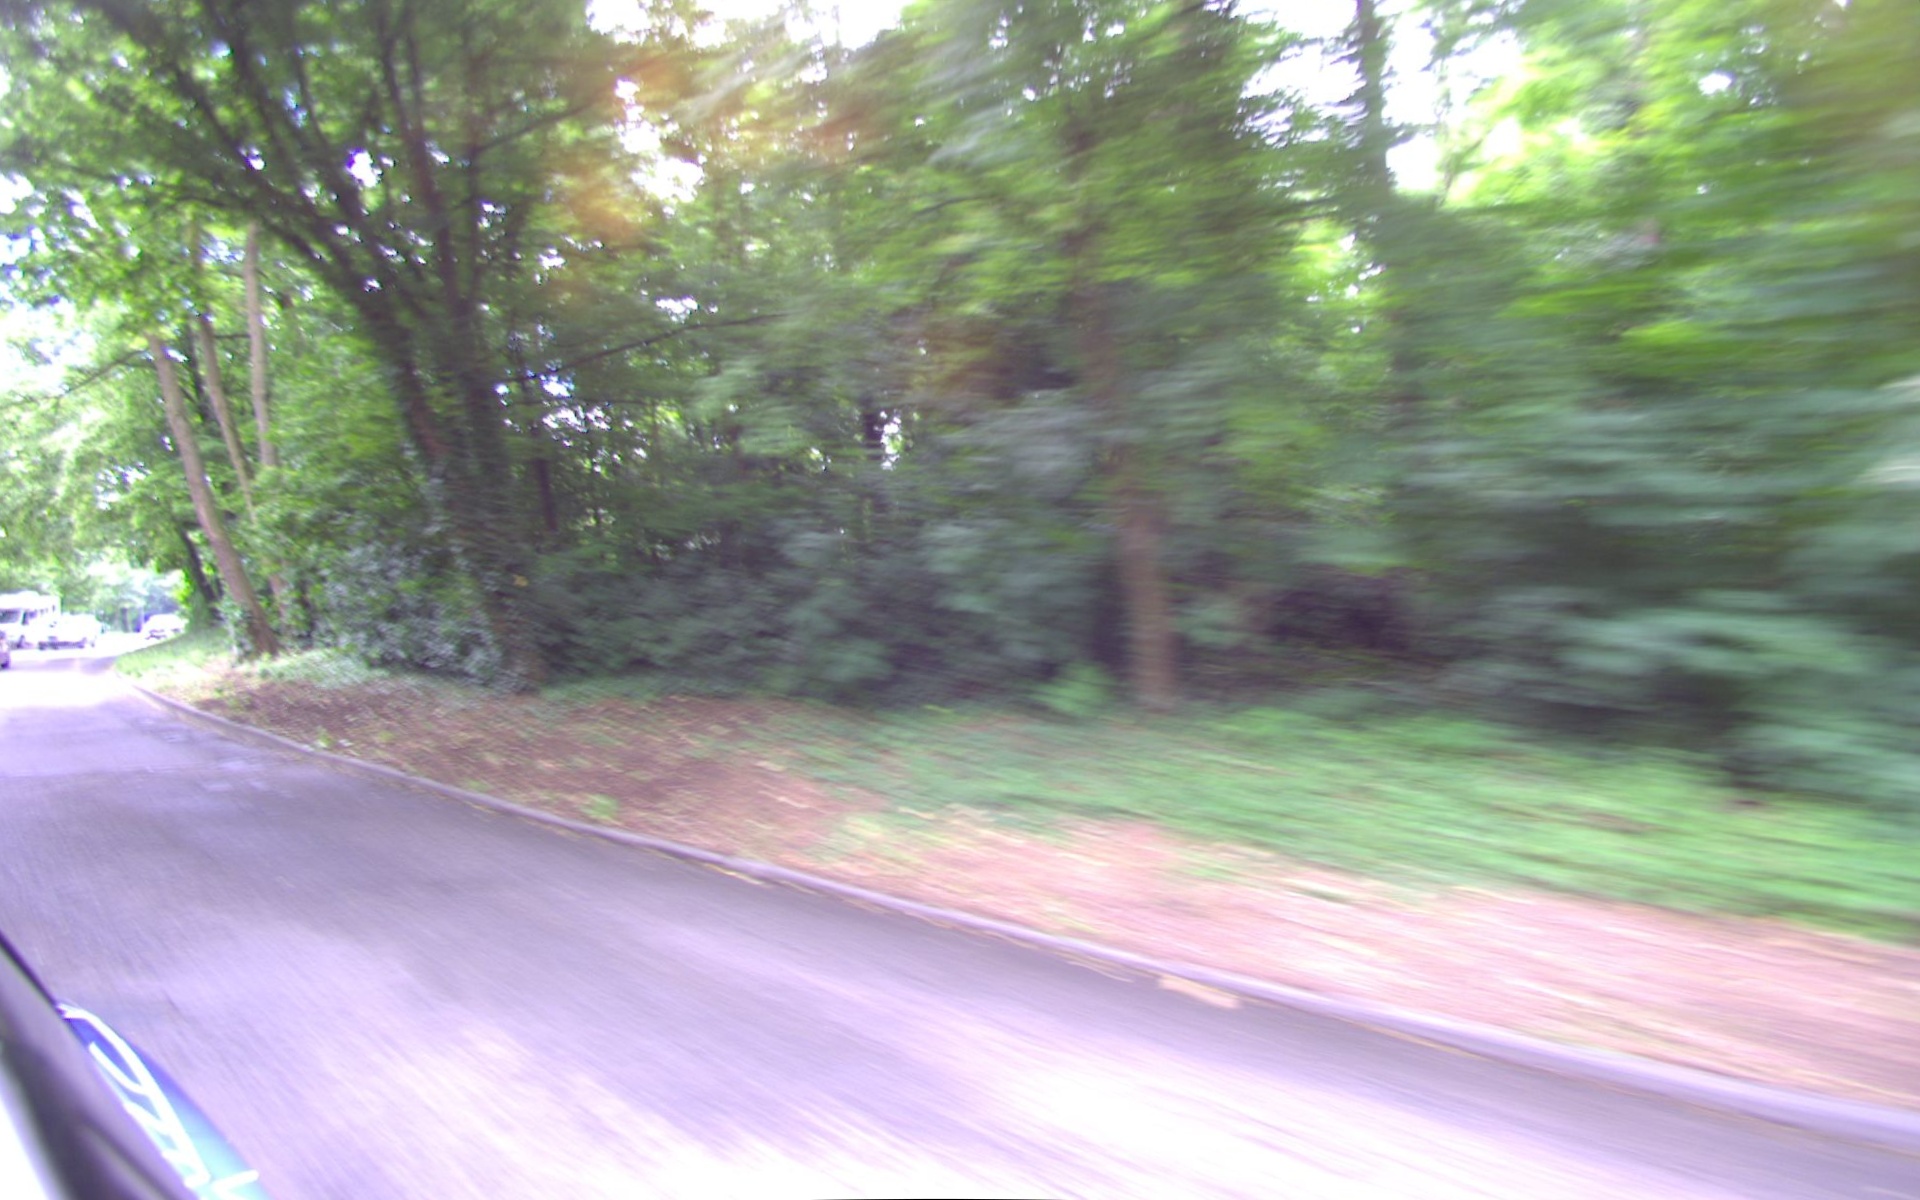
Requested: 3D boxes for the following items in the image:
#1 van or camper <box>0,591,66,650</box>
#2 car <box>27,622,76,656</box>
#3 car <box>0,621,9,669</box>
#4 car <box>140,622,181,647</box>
[{"bbox_3d":[-51.318,1.133,55.017,2.391,3.002,7.416,-2,0,-29],"label":"van or camper"},{"bbox_3d":[-45.341,1.939,50.491,1.631,1.580,4.049,-2,0,-44],"label":"car"},{"bbox_3d":[-30.685,1.420,30.982,1.928,1.483,4.685,-2,0,-39],"label":"car"},{"bbox_3d":[-55.481,2.383,70.307,1.739,1.580,4.057,-2,0,-32],"label":"car"}]
